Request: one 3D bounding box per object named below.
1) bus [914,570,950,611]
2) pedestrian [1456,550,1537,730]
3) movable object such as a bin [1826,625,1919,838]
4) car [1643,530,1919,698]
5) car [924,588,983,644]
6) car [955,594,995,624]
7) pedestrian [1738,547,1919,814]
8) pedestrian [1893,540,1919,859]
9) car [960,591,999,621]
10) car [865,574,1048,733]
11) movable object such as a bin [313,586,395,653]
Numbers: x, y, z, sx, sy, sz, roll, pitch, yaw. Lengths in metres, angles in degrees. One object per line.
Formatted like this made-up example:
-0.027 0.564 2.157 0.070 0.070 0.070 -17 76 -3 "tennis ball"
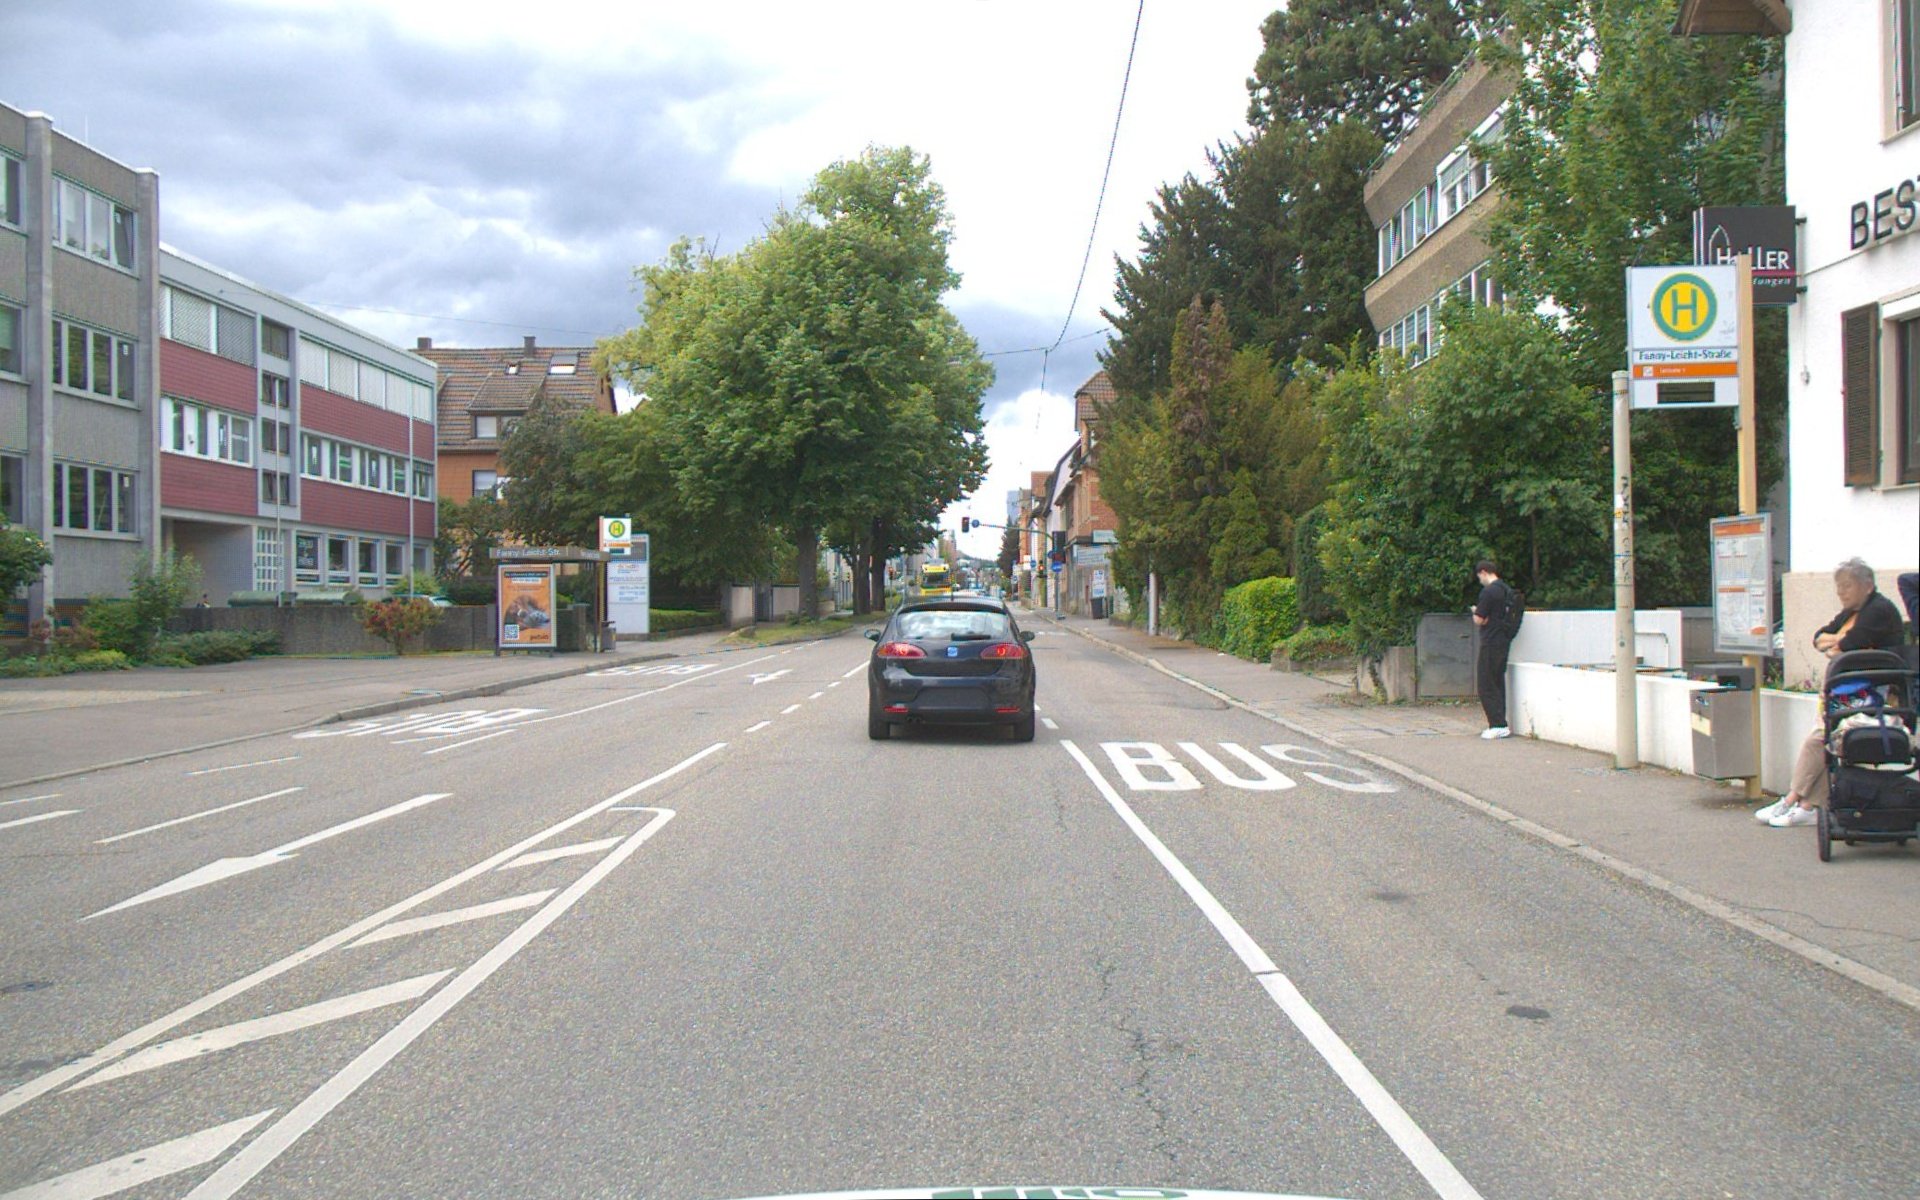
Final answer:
-2.243 -0.759 134.750 2.810 3.191 6.396 0 0 -1 "bus"
5.301 0.389 16.366 0.574 1.741 0.529 -2 0 -1 "pedestrian"
4.952 0.699 8.913 0.432 1.076 0.568 -3 0 26 "movable object such as a bin"
10.328 0.142 19.310 3.907 1.820 1.887 -1 0 -3 "car"
-0.166 0.487 53.668 1.781 1.729 4.254 -1 0 1 "car"
0.775 0.453 86.481 1.902 1.507 4.251 -1 0 -2 "car"
5.224 0.466 9.919 0.764 1.526 0.604 -2 0 -5 "pedestrian"
4.875 0.472 7.950 0.538 1.543 0.362 -3 1 9 "pedestrian"
1.181 0.332 96.395 1.951 1.713 4.002 0 0 5 "car"
-0.128 0.515 17.851 1.724 1.474 3.712 2 0 -3 "car"
-18.683 0.589 51.013 1.953 2.049 1.542 0 0 -1 "movable object such as a bin"
